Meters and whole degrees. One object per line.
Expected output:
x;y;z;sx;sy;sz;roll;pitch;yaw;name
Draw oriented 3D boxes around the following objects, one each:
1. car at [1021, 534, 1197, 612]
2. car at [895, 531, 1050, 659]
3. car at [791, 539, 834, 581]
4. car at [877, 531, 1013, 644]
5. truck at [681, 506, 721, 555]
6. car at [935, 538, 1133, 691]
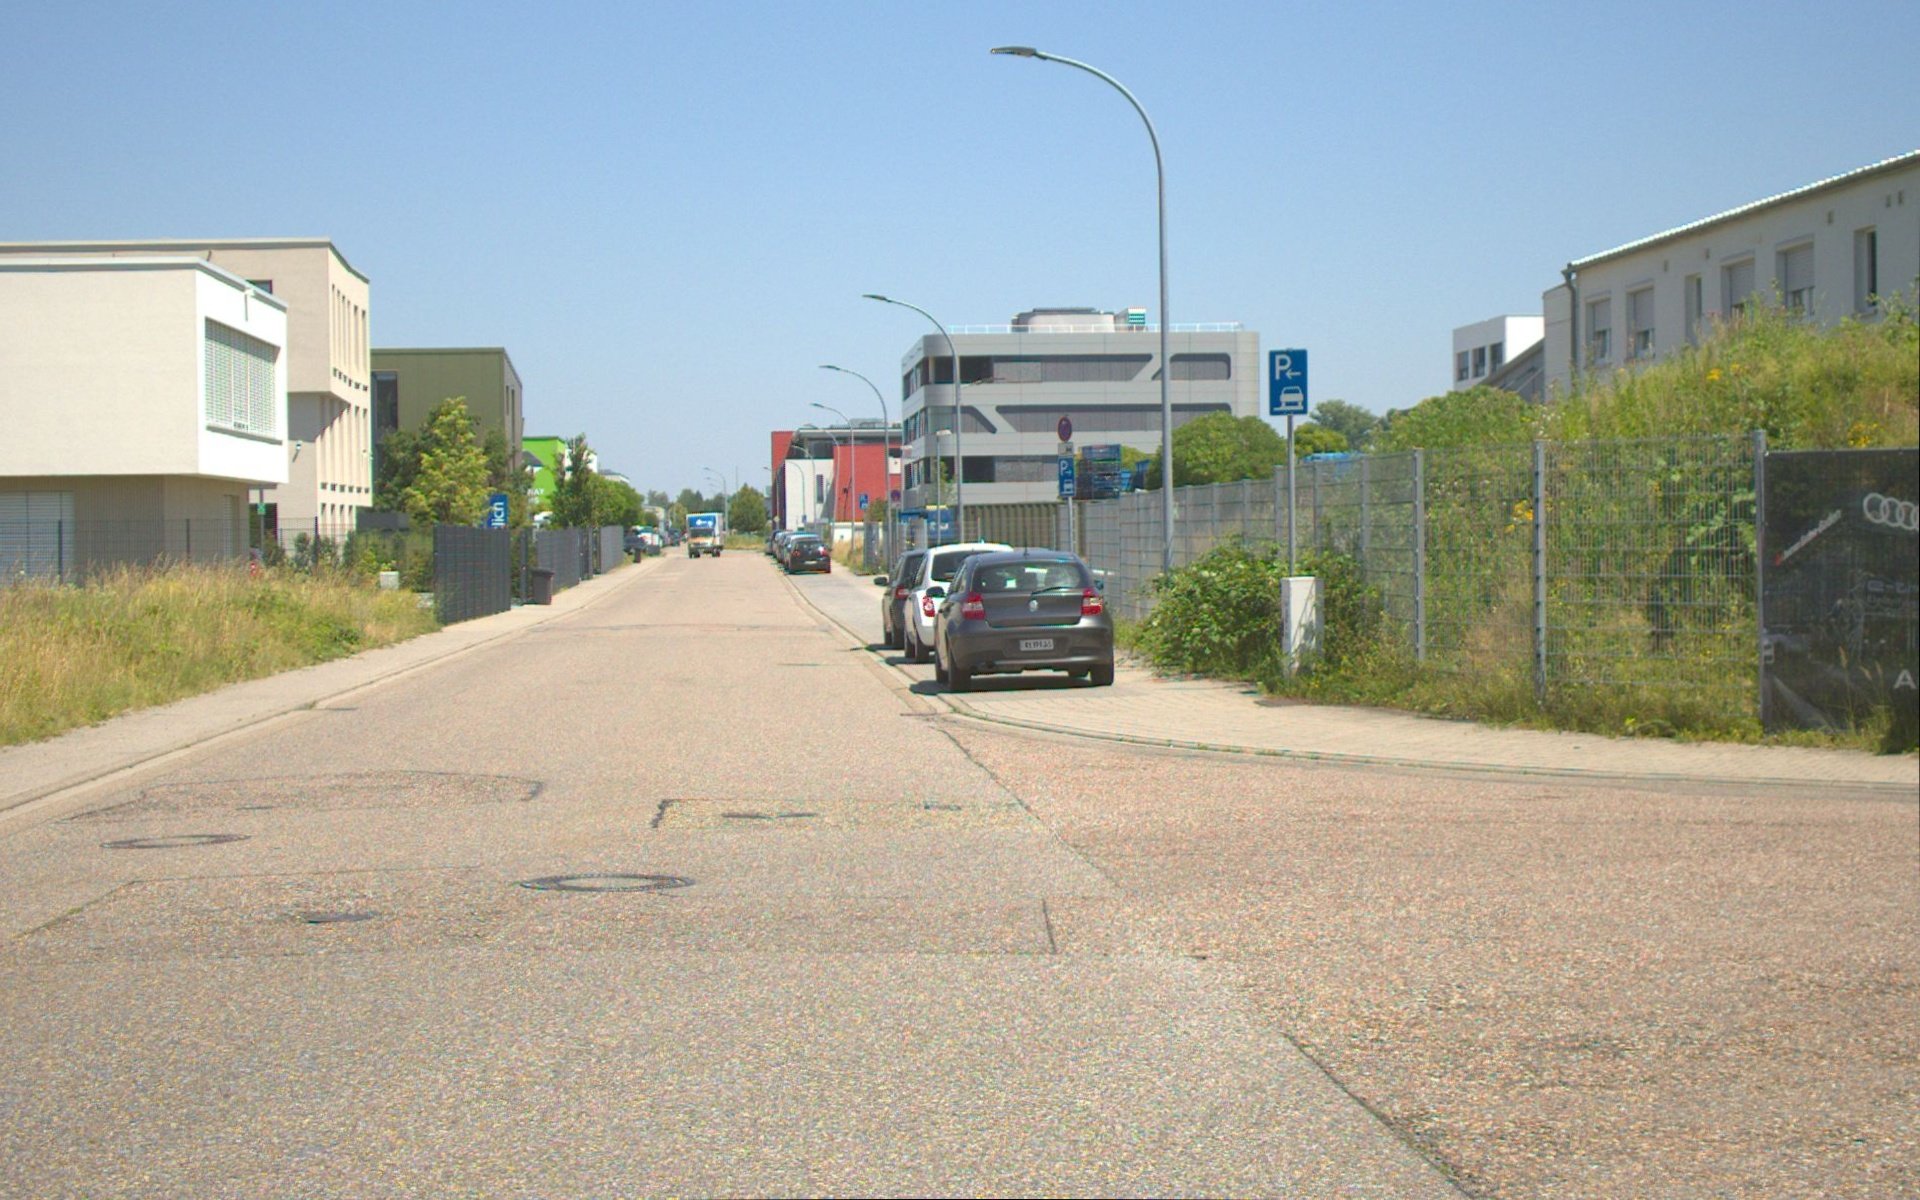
3.995;-0.748;92.977;4.625;2.007;2.607;1;1;0;car
0.132;-0.102;45.814;1.907;1.541;4.000;-2;1;-1;car
-6.319;-1.740;146.985;1.775;1.722;4.001;1;1;-3;car
-0.244;-0.219;51.757;1.907;1.541;4.000;-2;1;-1;car
-19.525;-5.277;259.182;2.599;3.532;10.504;-2;2;-6;truck
0.729;0.113;36.598;1.907;1.443;4.000;-2;1;-1;car
